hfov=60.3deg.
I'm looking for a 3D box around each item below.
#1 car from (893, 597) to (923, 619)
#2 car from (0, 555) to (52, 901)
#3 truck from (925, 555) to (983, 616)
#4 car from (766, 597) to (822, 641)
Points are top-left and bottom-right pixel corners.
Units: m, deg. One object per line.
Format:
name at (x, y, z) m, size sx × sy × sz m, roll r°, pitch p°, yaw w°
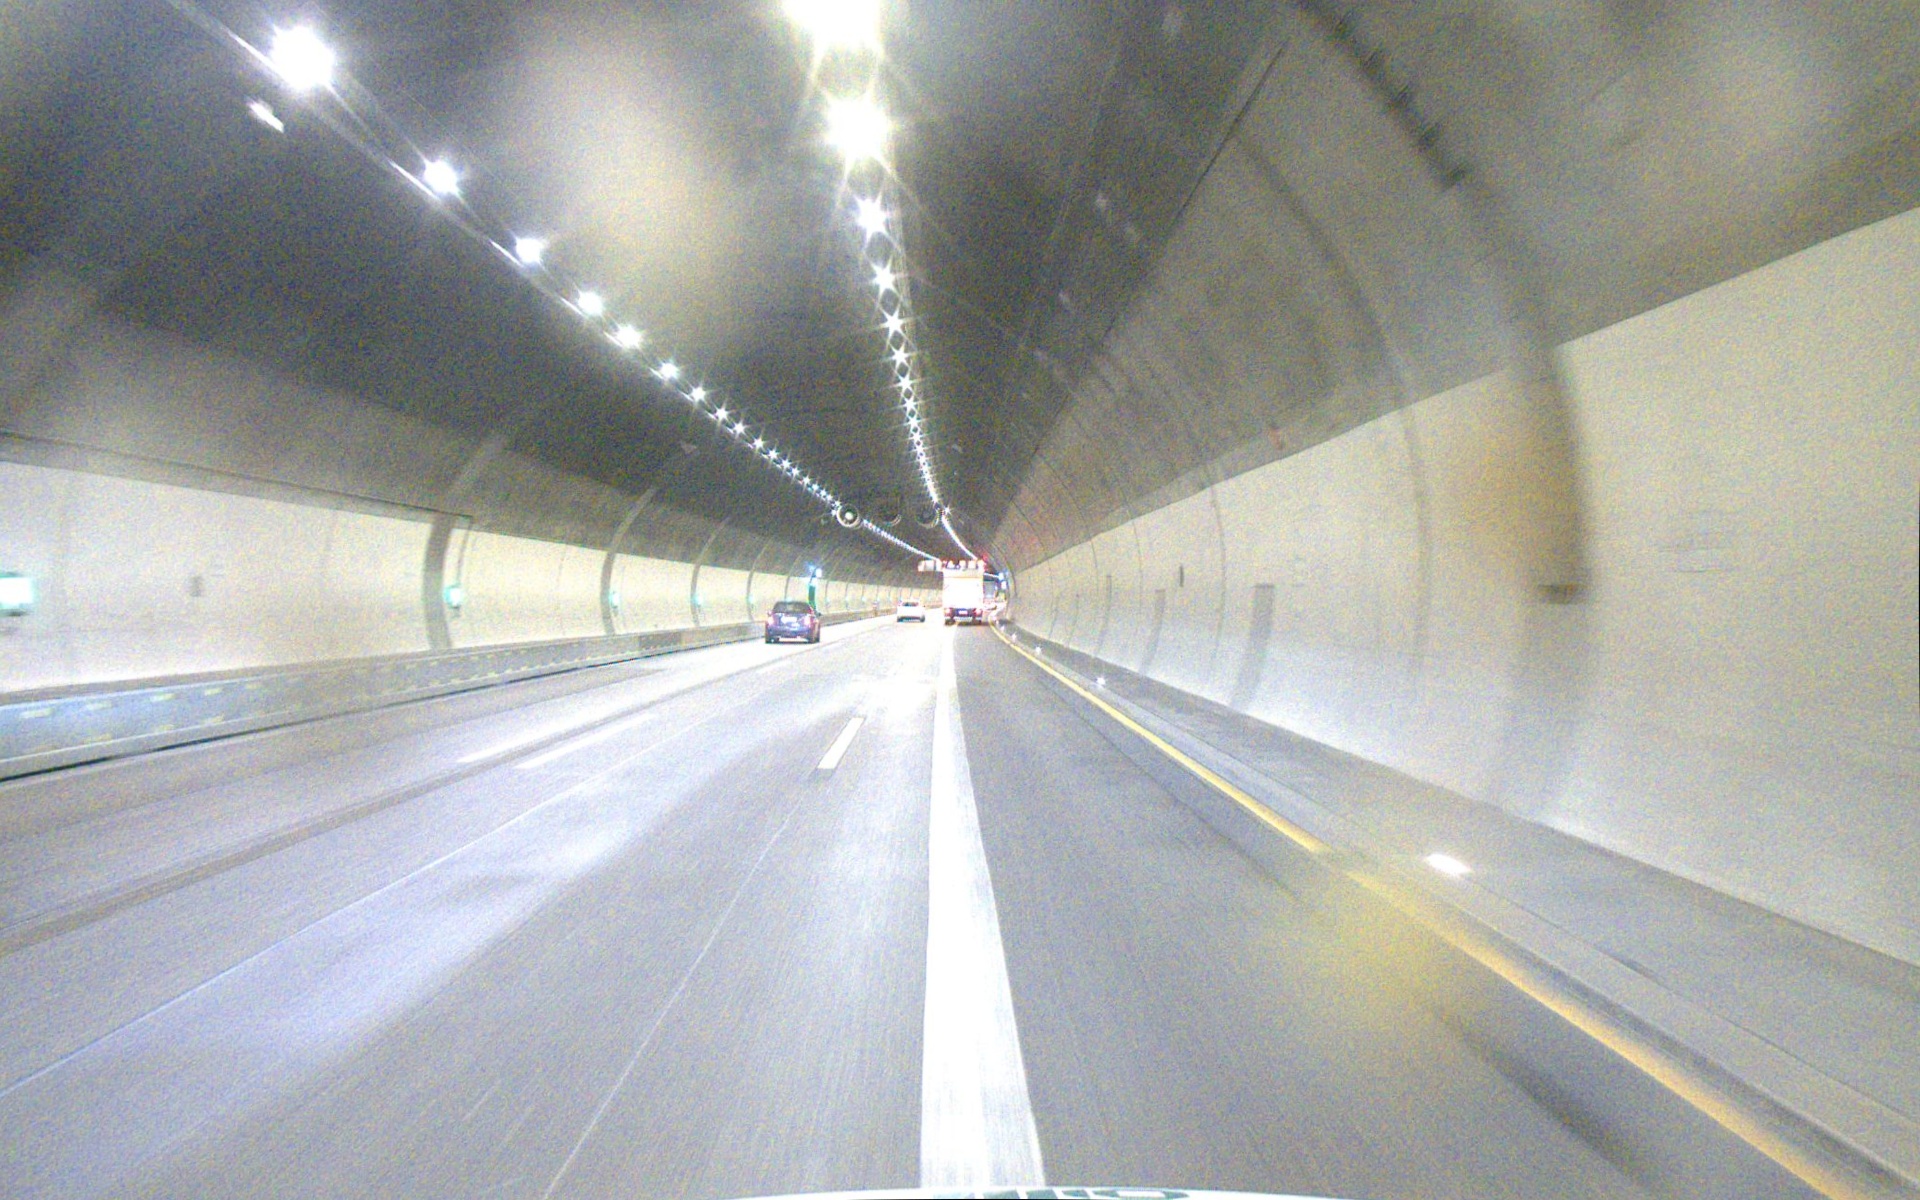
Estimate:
car at (-3.518, 0.516, 113.305) m, size 1.953 × 1.437 × 4.742 m, roll 0°, pitch 0°, yaw -1°
car at (-5.296, 0.564, 5.509) m, size 1.953 × 1.567 × 4.741 m, roll 1°, pitch 0°, yaw -1°
truck at (-0.386, -0.926, 106.786) m, size 3.519 × 3.714 × 10.721 m, roll 0°, pitch 0°, yaw 0°
car at (-5.690, 0.638, 56.929) m, size 1.655 × 1.442 × 3.921 m, roll 0°, pitch 0°, yaw -2°
